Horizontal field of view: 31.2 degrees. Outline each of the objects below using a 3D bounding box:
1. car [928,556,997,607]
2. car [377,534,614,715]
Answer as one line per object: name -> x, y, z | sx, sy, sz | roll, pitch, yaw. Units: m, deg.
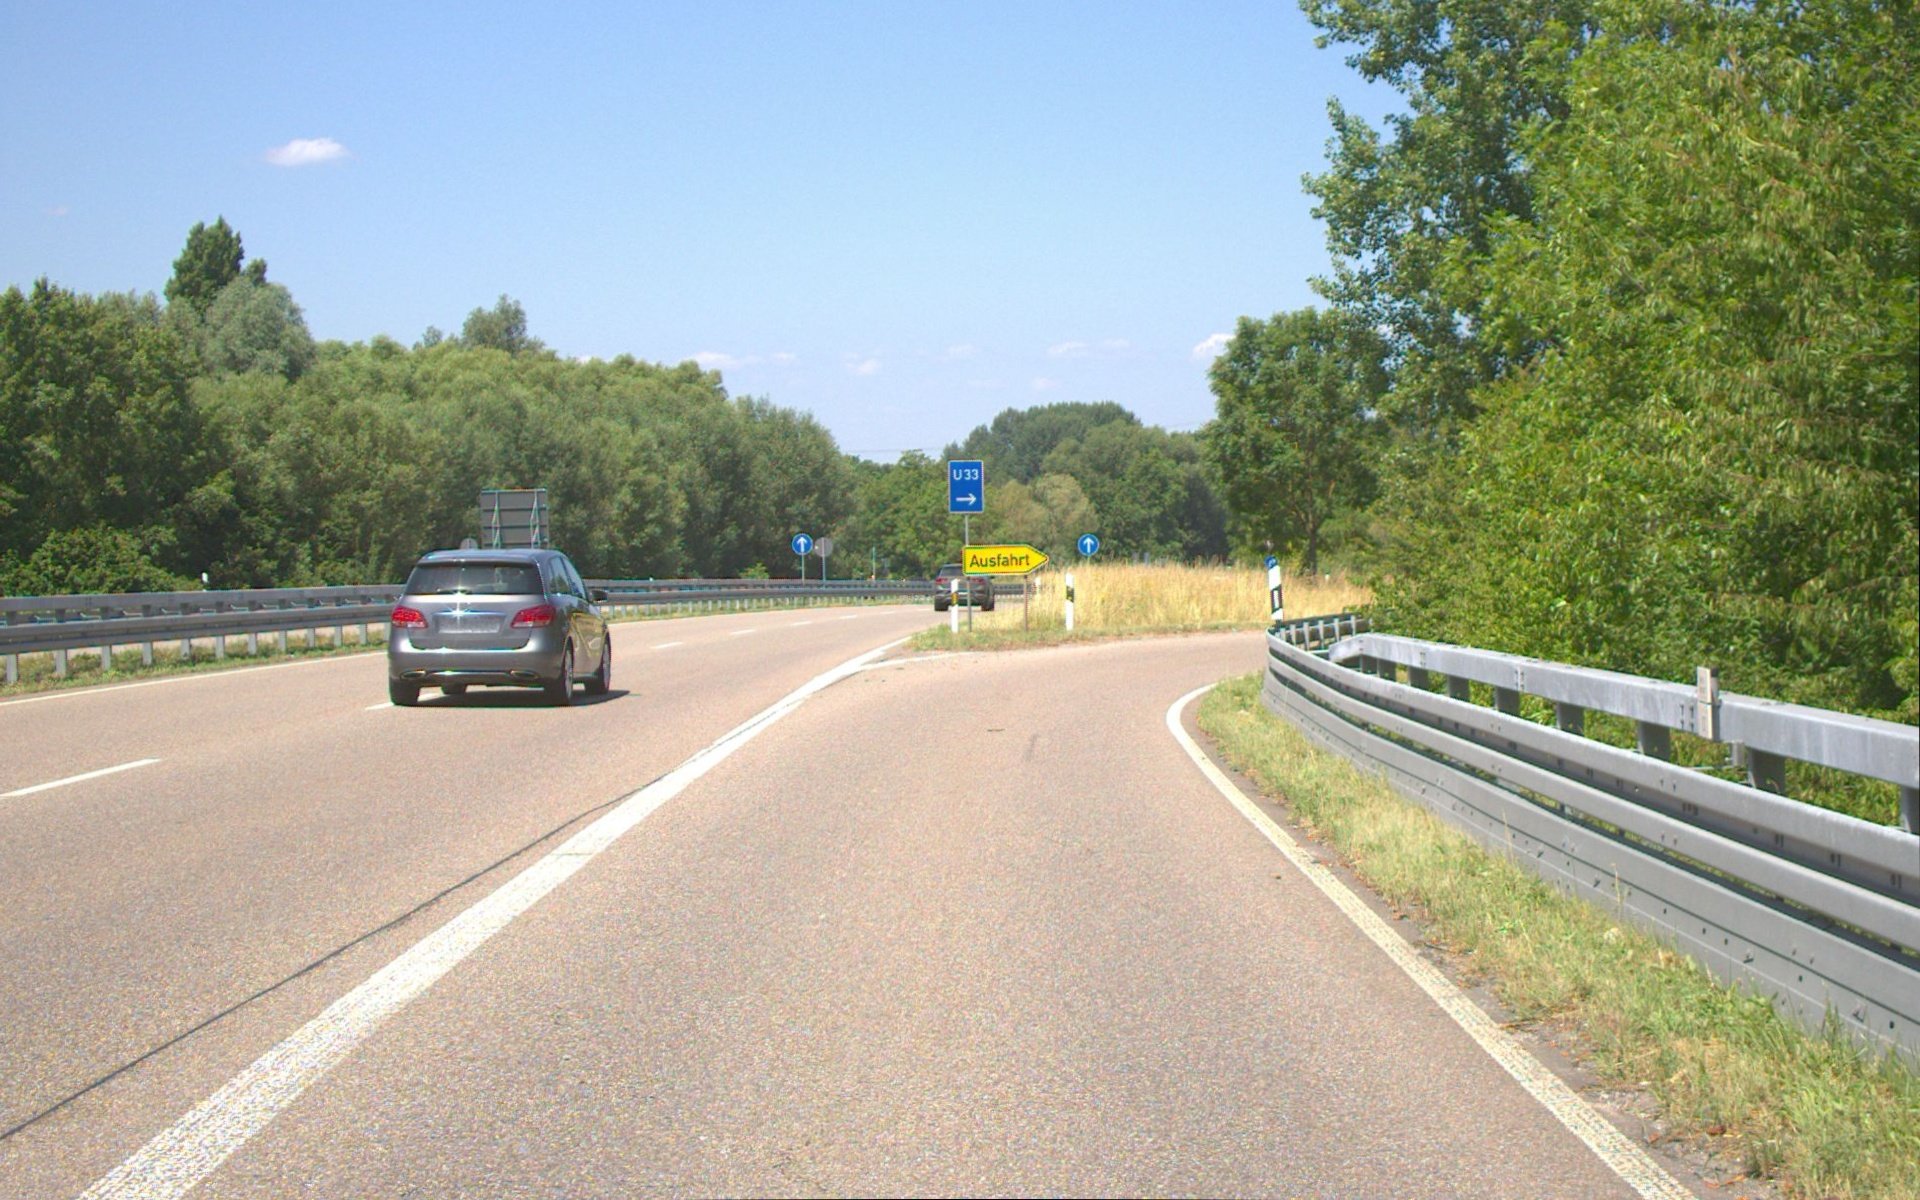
car -> 0.094, -0.629, 113.438 | 1.841, 1.524, 4.469 | 1, 2, 5
car -> -4.721, 0.195, 35.527 | 1.793, 1.662, 4.555 | 1, 2, 0
